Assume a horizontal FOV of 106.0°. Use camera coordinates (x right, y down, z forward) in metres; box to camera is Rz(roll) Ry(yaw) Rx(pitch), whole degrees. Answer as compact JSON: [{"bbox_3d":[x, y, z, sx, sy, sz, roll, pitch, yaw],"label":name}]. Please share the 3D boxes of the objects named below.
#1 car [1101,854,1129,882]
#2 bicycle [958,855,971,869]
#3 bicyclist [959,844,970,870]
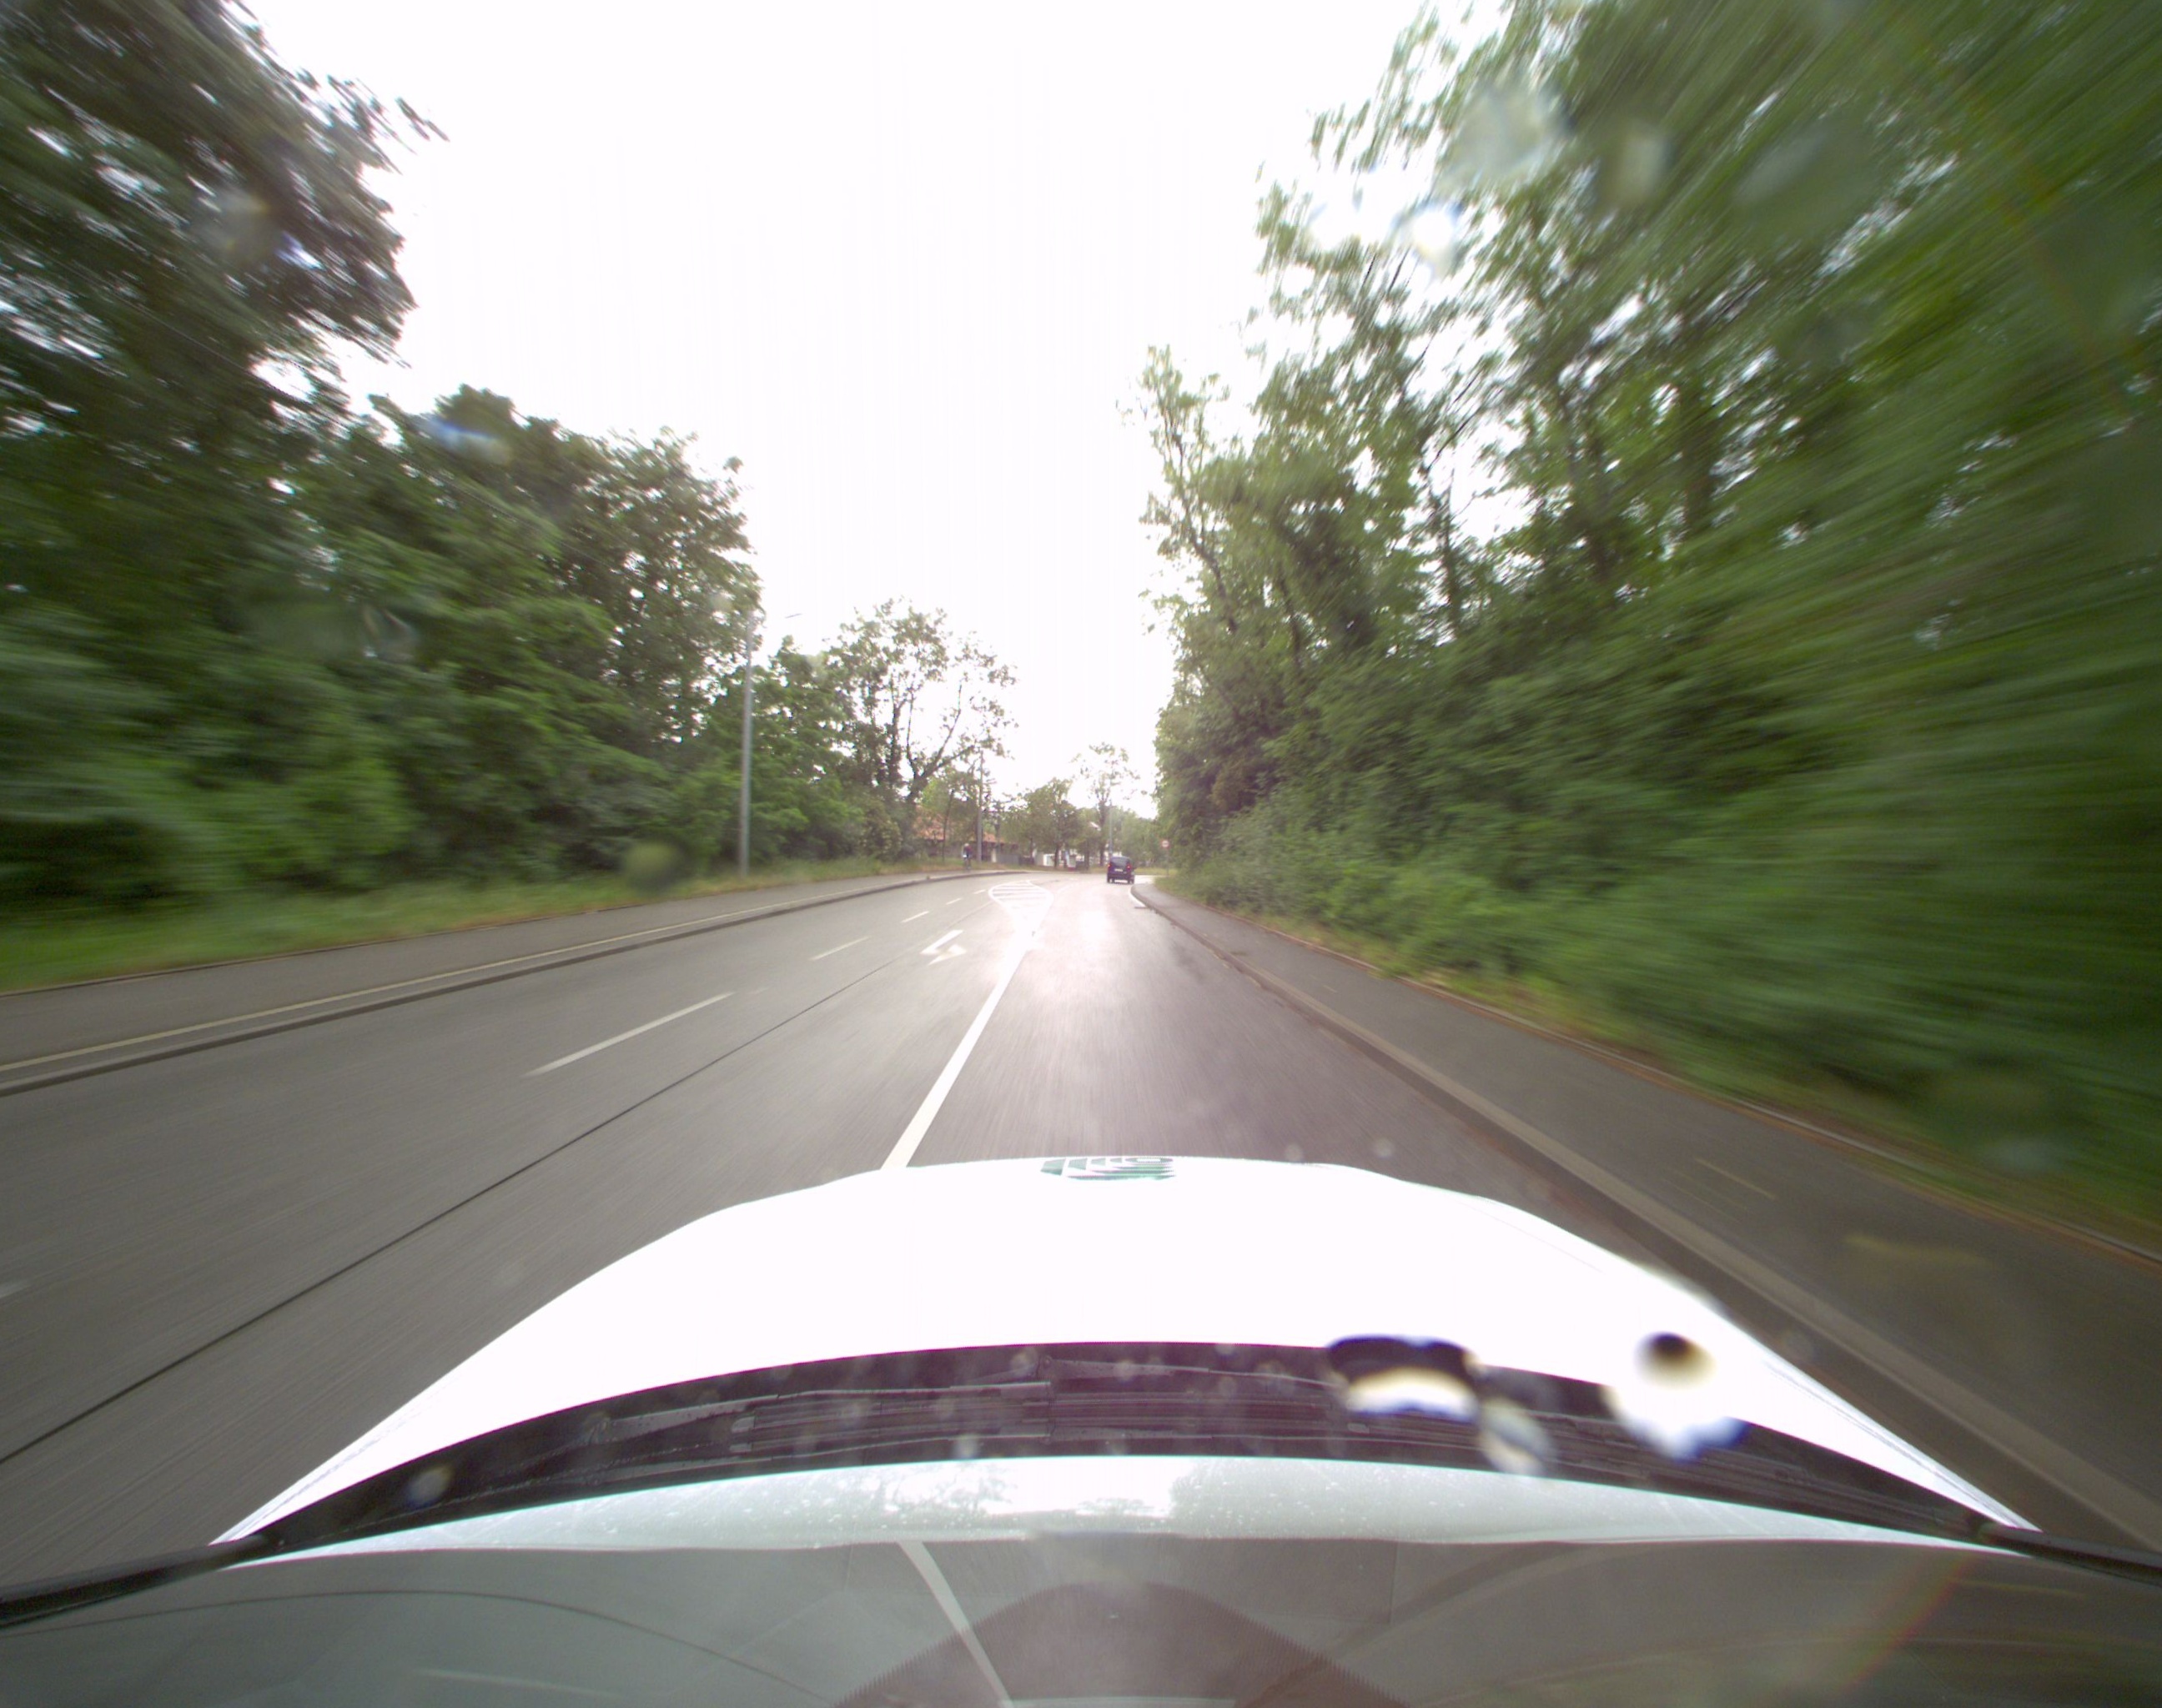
[{"bbox_3d":[2.310,1.023,56.939,1.820,1.794,4.000,-2,-3,1],"label":"car"},{"bbox_3d":[-7.172,0.480,50.165,0.354,0.849,2.095,1,0,3],"label":"bicycle"},{"bbox_3d":[-7.170,0.153,50.164,0.334,1.574,1.299,1,0,3],"label":"bicyclist"}]
